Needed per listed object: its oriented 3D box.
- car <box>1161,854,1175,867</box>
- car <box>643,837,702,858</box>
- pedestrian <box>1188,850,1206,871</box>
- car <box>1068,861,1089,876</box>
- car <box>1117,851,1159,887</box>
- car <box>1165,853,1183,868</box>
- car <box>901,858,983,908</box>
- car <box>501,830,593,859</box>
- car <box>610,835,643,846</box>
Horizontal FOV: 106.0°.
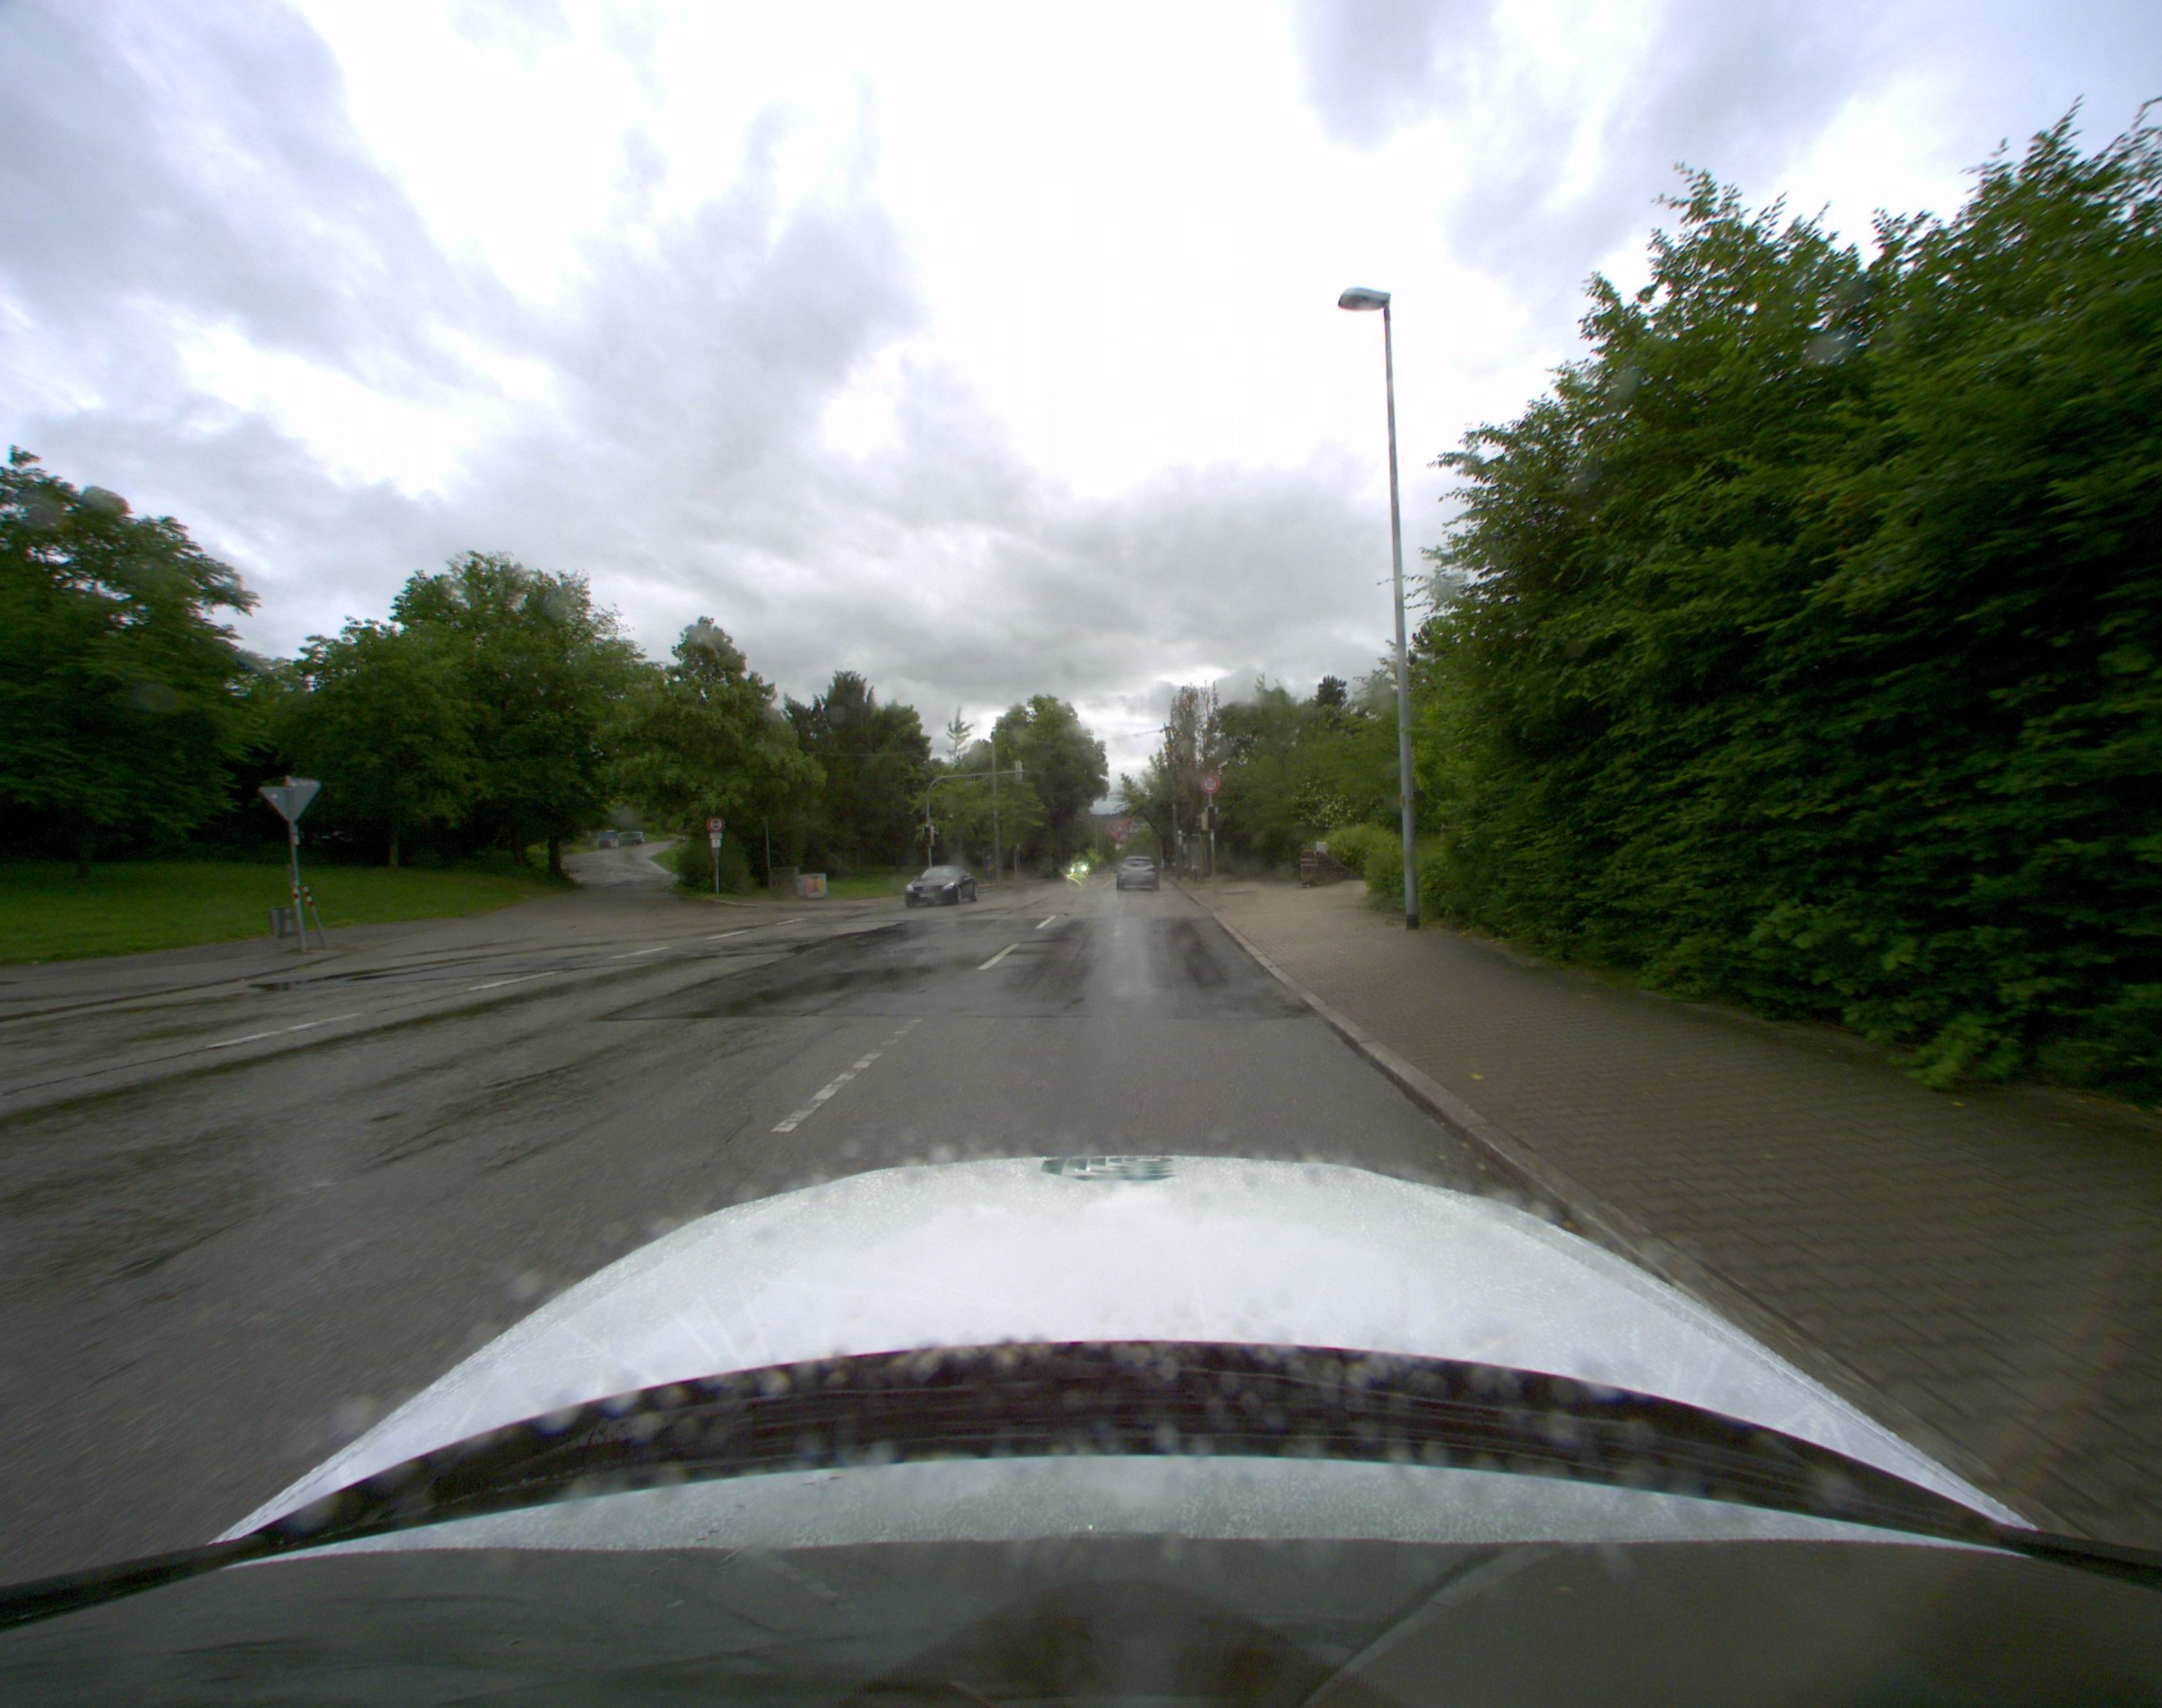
[{"bbox_3d":[10.924,0.797,102.459,1.713,1.464,4.006,-4,0,5],"label":"car"},{"bbox_3d":[-32.450,-0.531,64.869,3.908,1.486,1.923,-2,0,-18],"label":"car"},{"bbox_3d":[7.754,0.433,54.516,1.066,1.355,0.921,-4,0,11],"label":"pedestrian"},{"bbox_3d":[-0.205,1.394,81.247,1.713,1.399,4.005,0,0,5],"label":"car"},{"bbox_3d":[2.521,0.629,36.310,1.747,1.464,4.004,0,1,3],"label":"car"},{"bbox_3d":[9.983,0.694,87.309,1.713,1.464,4.006,-4,0,5],"label":"car"},{"bbox_3d":[-4.572,0.909,27.332,1.653,1.306,4.089,-4,1,5],"label":"car"},{"bbox_3d":[-29.752,-0.522,45.516,3.908,1.486,1.923,-2,0,-18],"label":"car"},{"bbox_3d":[-64.038,-1.880,114.916,4.010,1.384,1.711,0,0,-28],"label":"car"}]
